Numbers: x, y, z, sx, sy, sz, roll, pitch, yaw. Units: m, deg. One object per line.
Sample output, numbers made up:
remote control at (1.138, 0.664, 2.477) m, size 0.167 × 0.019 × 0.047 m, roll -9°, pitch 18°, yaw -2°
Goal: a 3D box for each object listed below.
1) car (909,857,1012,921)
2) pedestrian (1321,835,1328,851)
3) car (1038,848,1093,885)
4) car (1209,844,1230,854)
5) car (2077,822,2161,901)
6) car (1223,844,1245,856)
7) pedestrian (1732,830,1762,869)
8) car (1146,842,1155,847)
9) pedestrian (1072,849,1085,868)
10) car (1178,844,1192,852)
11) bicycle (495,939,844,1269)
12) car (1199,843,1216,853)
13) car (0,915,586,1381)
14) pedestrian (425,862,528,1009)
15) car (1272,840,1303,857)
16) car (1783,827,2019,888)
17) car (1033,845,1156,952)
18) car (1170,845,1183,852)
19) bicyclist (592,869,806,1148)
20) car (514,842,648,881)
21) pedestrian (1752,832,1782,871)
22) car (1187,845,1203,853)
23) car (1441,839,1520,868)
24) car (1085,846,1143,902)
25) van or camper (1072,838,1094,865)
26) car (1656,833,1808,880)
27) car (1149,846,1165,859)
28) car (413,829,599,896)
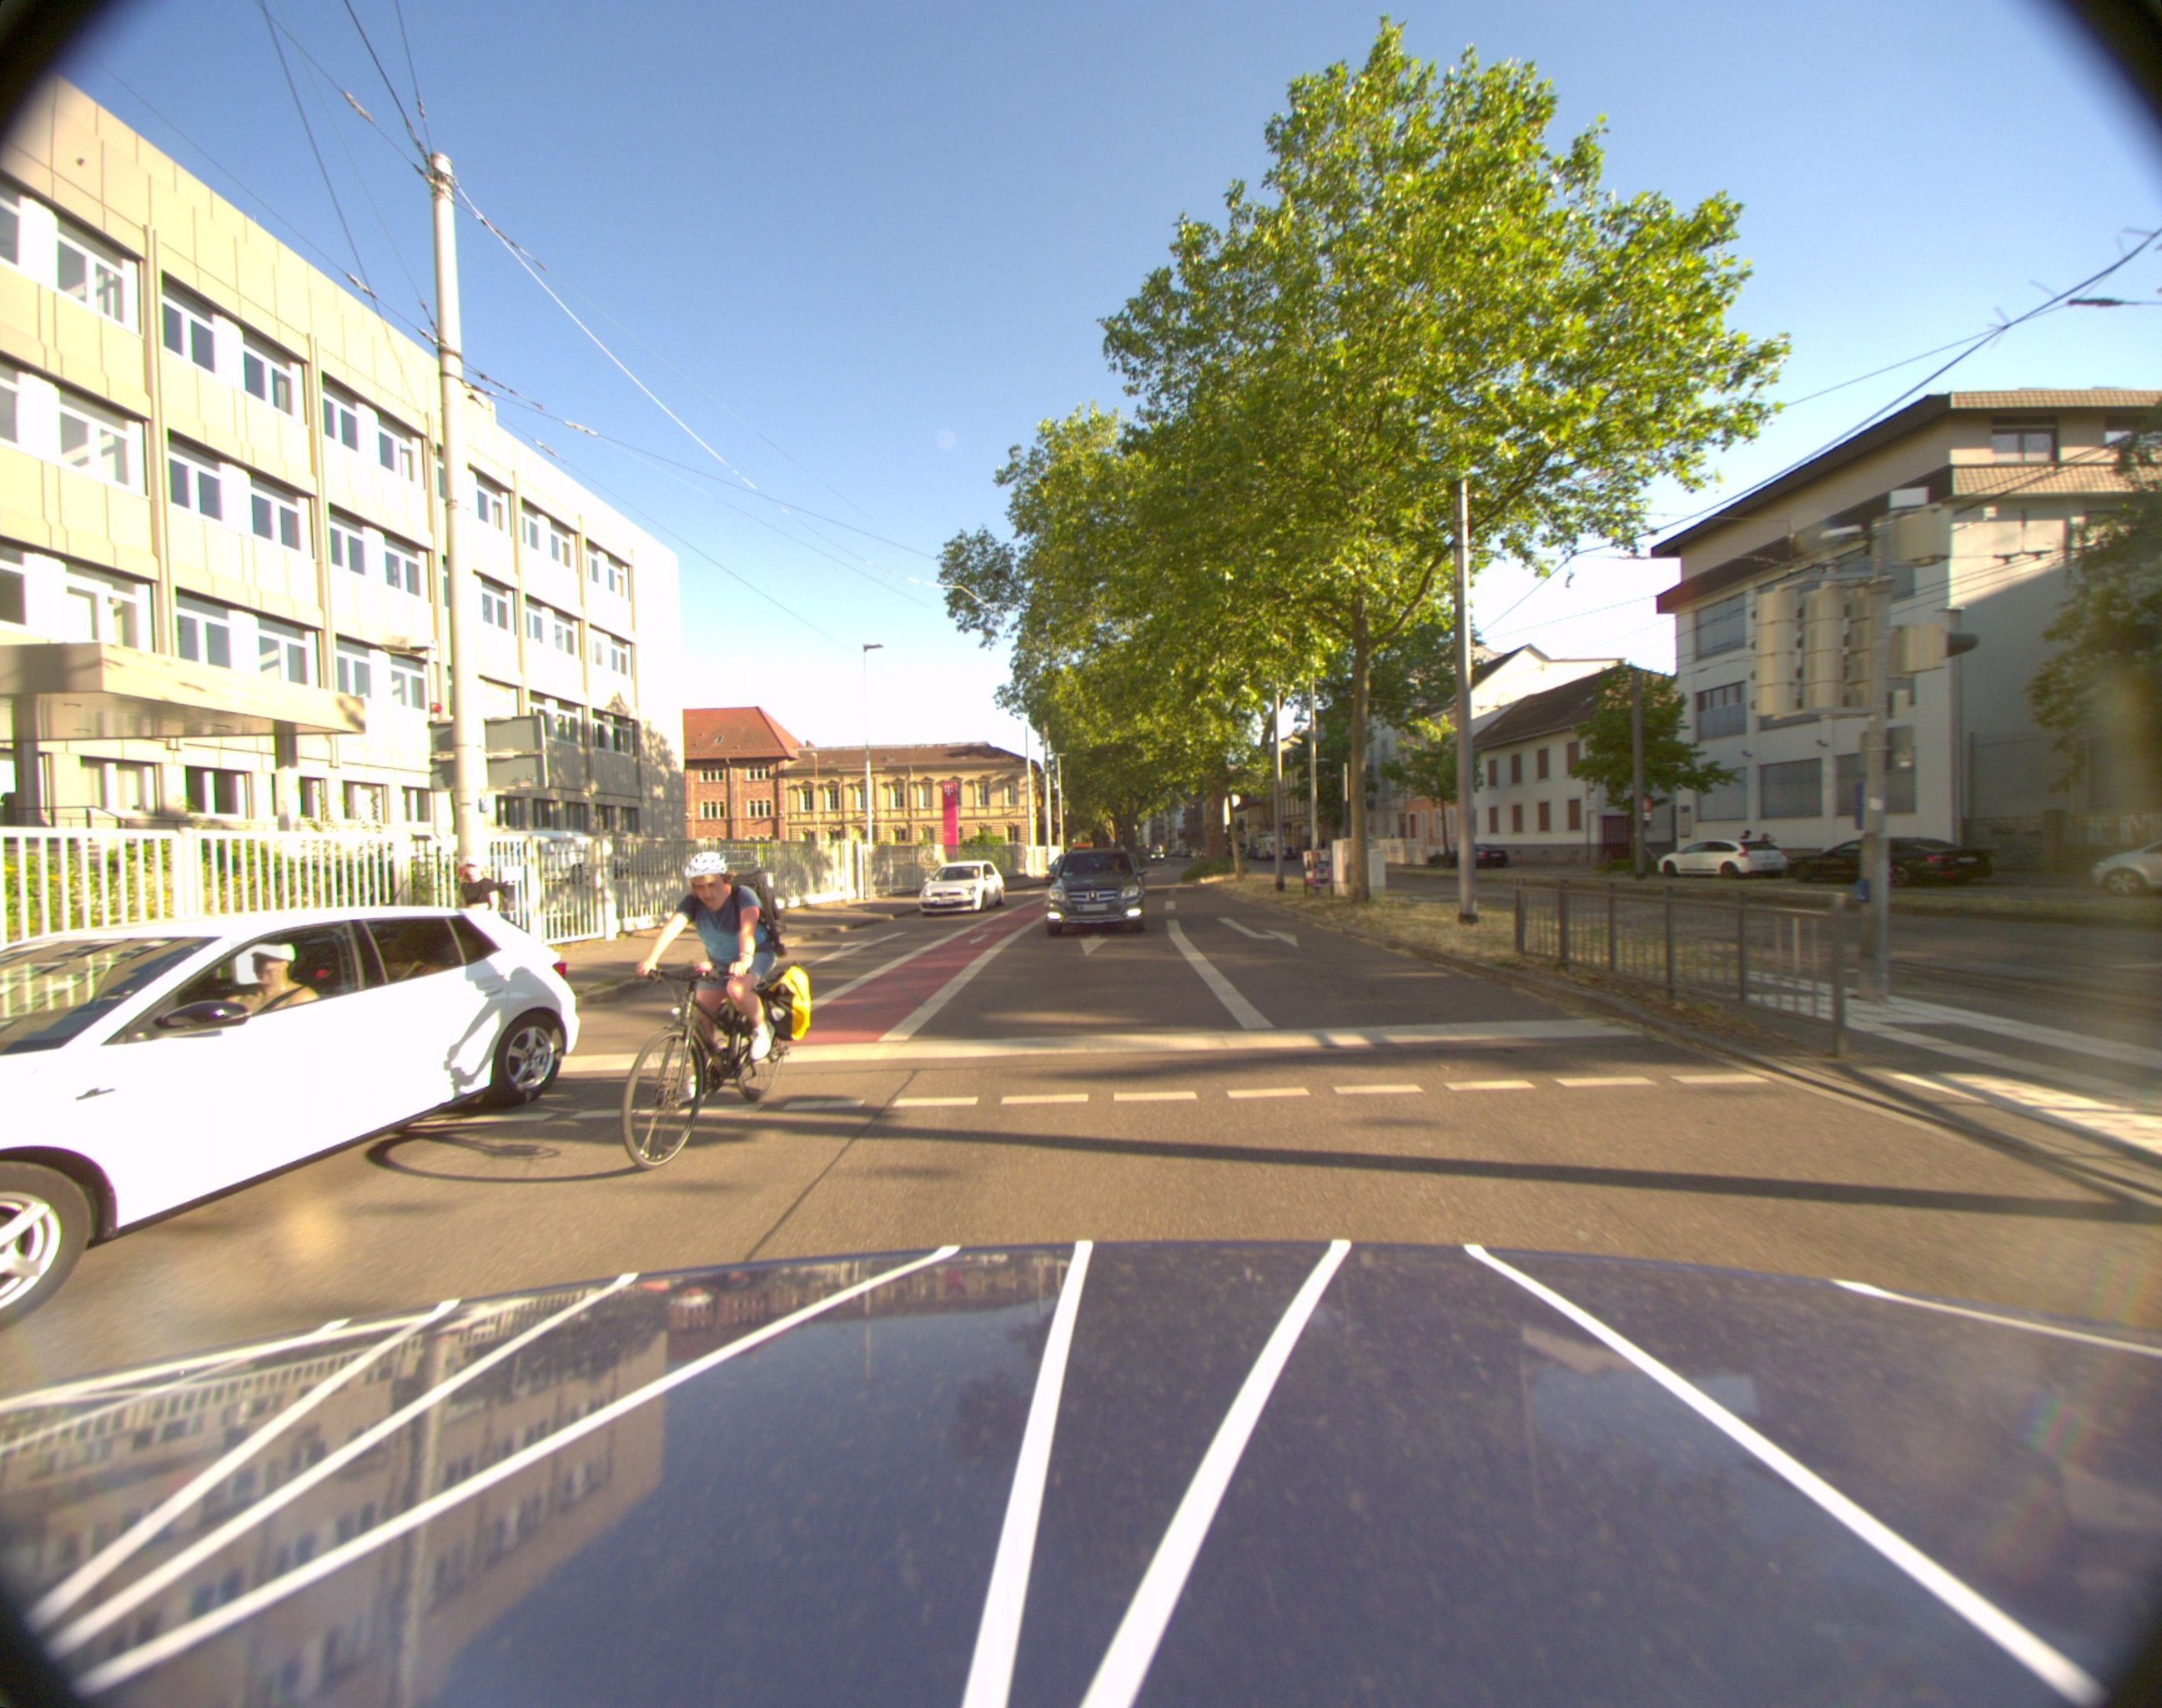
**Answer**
car at (-3.394, 0.946, 22.288) m, size 1.792 × 1.494 × 4.302 m, roll -4°, pitch 1°, yaw 6°
pedestrian at (26.822, -1.187, 83.752) m, size 0.561 × 1.798 × 0.705 m, roll -2°, pitch 1°, yaw -3°
car at (-0.717, 0.601, 39.583) m, size 1.792 × 1.634 × 4.304 m, roll -4°, pitch 1°, yaw 12°
car at (22.327, -0.806, 122.611) m, size 2.087 × 1.531 × 5.103 m, roll -4°, pitch 1°, yaw -2°
car at (24.430, 0.155, 15.752) m, size 2.087 × 1.610 × 4.096 m, roll -4°, pitch 1°, yaw -2°
car at (22.004, -0.641, 109.510) m, size 2.087 × 1.531 × 4.515 m, roll -4°, pitch 1°, yaw -2°
pedestrian at (26.476, -0.191, 30.208) m, size 0.537 × 1.519 × 0.711 m, roll -2°, pitch 1°, yaw -7°
car at (21.502, -2.869, 235.754) m, size 2.087 × 1.531 × 4.126 m, roll -4°, pitch 1°, yaw -2°
pedestrian at (-0.195, 0.355, 58.376) m, size 0.898 × 1.464 × 0.810 m, roll -1°, pitch 1°, yaw 2°
car at (21.513, -1.327, 157.734) m, size 2.087 × 1.531 × 4.008 m, roll -4°, pitch 1°, yaw -2°
bicycle at (-2.147, 1.221, 4.460) m, size 0.764 × 1.138 × 2.306 m, roll -1°, pitch 1°, yaw 0°
car at (21.918, -0.978, 131.557) m, size 2.087 × 1.531 × 4.037 m, roll -4°, pitch 1°, yaw -2°
car at (-4.674, 1.204, 3.683) m, size 1.705 × 1.381 × 4.075 m, roll -3°, pitch 1°, yaw 2°
pedestrian at (-7.591, 0.991, 9.572) m, size 0.592 × 1.752 × 0.770 m, roll -1°, pitch 1°, yaw 5°
car at (23.464, -0.644, 86.560) m, size 2.087 × 1.664 × 4.531 m, roll -4°, pitch 1°, yaw -2°
car at (24.145, 0.059, 22.690) m, size 2.087 × 1.493 × 4.456 m, roll -4°, pitch 1°, yaw -2°
car at (0.311, 0.713, 14.815) m, size 1.908 × 1.634 × 4.516 m, roll -4°, pitch 1°, yaw 2°
car at (21.719, -1.211, 173.083) m, size 2.087 × 1.531 × 4.119 m, roll -4°, pitch 1°, yaw -2°
bicyclist at (-2.169, 0.826, 4.437) m, size 0.728 × 1.414 × 0.859 m, roll -3°, pitch 1°, yaw 0°
car at (-22.113, 0.308, 33.742) m, size 4.574 × 1.572 × 2.000 m, roll -2°, pitch 1°, yaw 0°
pedestrian at (27.321, -0.118, 30.263) m, size 0.537 × 1.519 × 0.711 m, roll -1°, pitch 1°, yaw -1°
car at (22.083, -0.992, 147.439) m, size 2.087 × 1.531 × 4.254 m, roll -4°, pitch 1°, yaw -2°
car at (23.672, -0.064, 45.263) m, size 2.087 × 1.462 × 4.578 m, roll -4°, pitch 1°, yaw -2°
car at (1.102, 0.621, 26.982) m, size 1.793 × 1.694 × 4.300 m, roll -4°, pitch 1°, yaw 1°
van or camper at (0.262, -0.302, 76.987) m, size 1.998 × 2.578 × 5.625 m, roll -3°, pitch 1°, yaw 1°
car at (24.065, 0.062, 28.315) m, size 2.087 × 1.481 × 3.996 m, roll -4°, pitch 1°, yaw -2°
car at (11.065, -0.236, 110.898) m, size 1.998 × 1.762 × 3.999 m, roll -3°, pitch 1°, yaw 0°
car at (-17.447, 0.210, 23.428) m, size 1.998 × 1.832 × 4.784 m, roll -1°, pitch 1°, yaw 1°
